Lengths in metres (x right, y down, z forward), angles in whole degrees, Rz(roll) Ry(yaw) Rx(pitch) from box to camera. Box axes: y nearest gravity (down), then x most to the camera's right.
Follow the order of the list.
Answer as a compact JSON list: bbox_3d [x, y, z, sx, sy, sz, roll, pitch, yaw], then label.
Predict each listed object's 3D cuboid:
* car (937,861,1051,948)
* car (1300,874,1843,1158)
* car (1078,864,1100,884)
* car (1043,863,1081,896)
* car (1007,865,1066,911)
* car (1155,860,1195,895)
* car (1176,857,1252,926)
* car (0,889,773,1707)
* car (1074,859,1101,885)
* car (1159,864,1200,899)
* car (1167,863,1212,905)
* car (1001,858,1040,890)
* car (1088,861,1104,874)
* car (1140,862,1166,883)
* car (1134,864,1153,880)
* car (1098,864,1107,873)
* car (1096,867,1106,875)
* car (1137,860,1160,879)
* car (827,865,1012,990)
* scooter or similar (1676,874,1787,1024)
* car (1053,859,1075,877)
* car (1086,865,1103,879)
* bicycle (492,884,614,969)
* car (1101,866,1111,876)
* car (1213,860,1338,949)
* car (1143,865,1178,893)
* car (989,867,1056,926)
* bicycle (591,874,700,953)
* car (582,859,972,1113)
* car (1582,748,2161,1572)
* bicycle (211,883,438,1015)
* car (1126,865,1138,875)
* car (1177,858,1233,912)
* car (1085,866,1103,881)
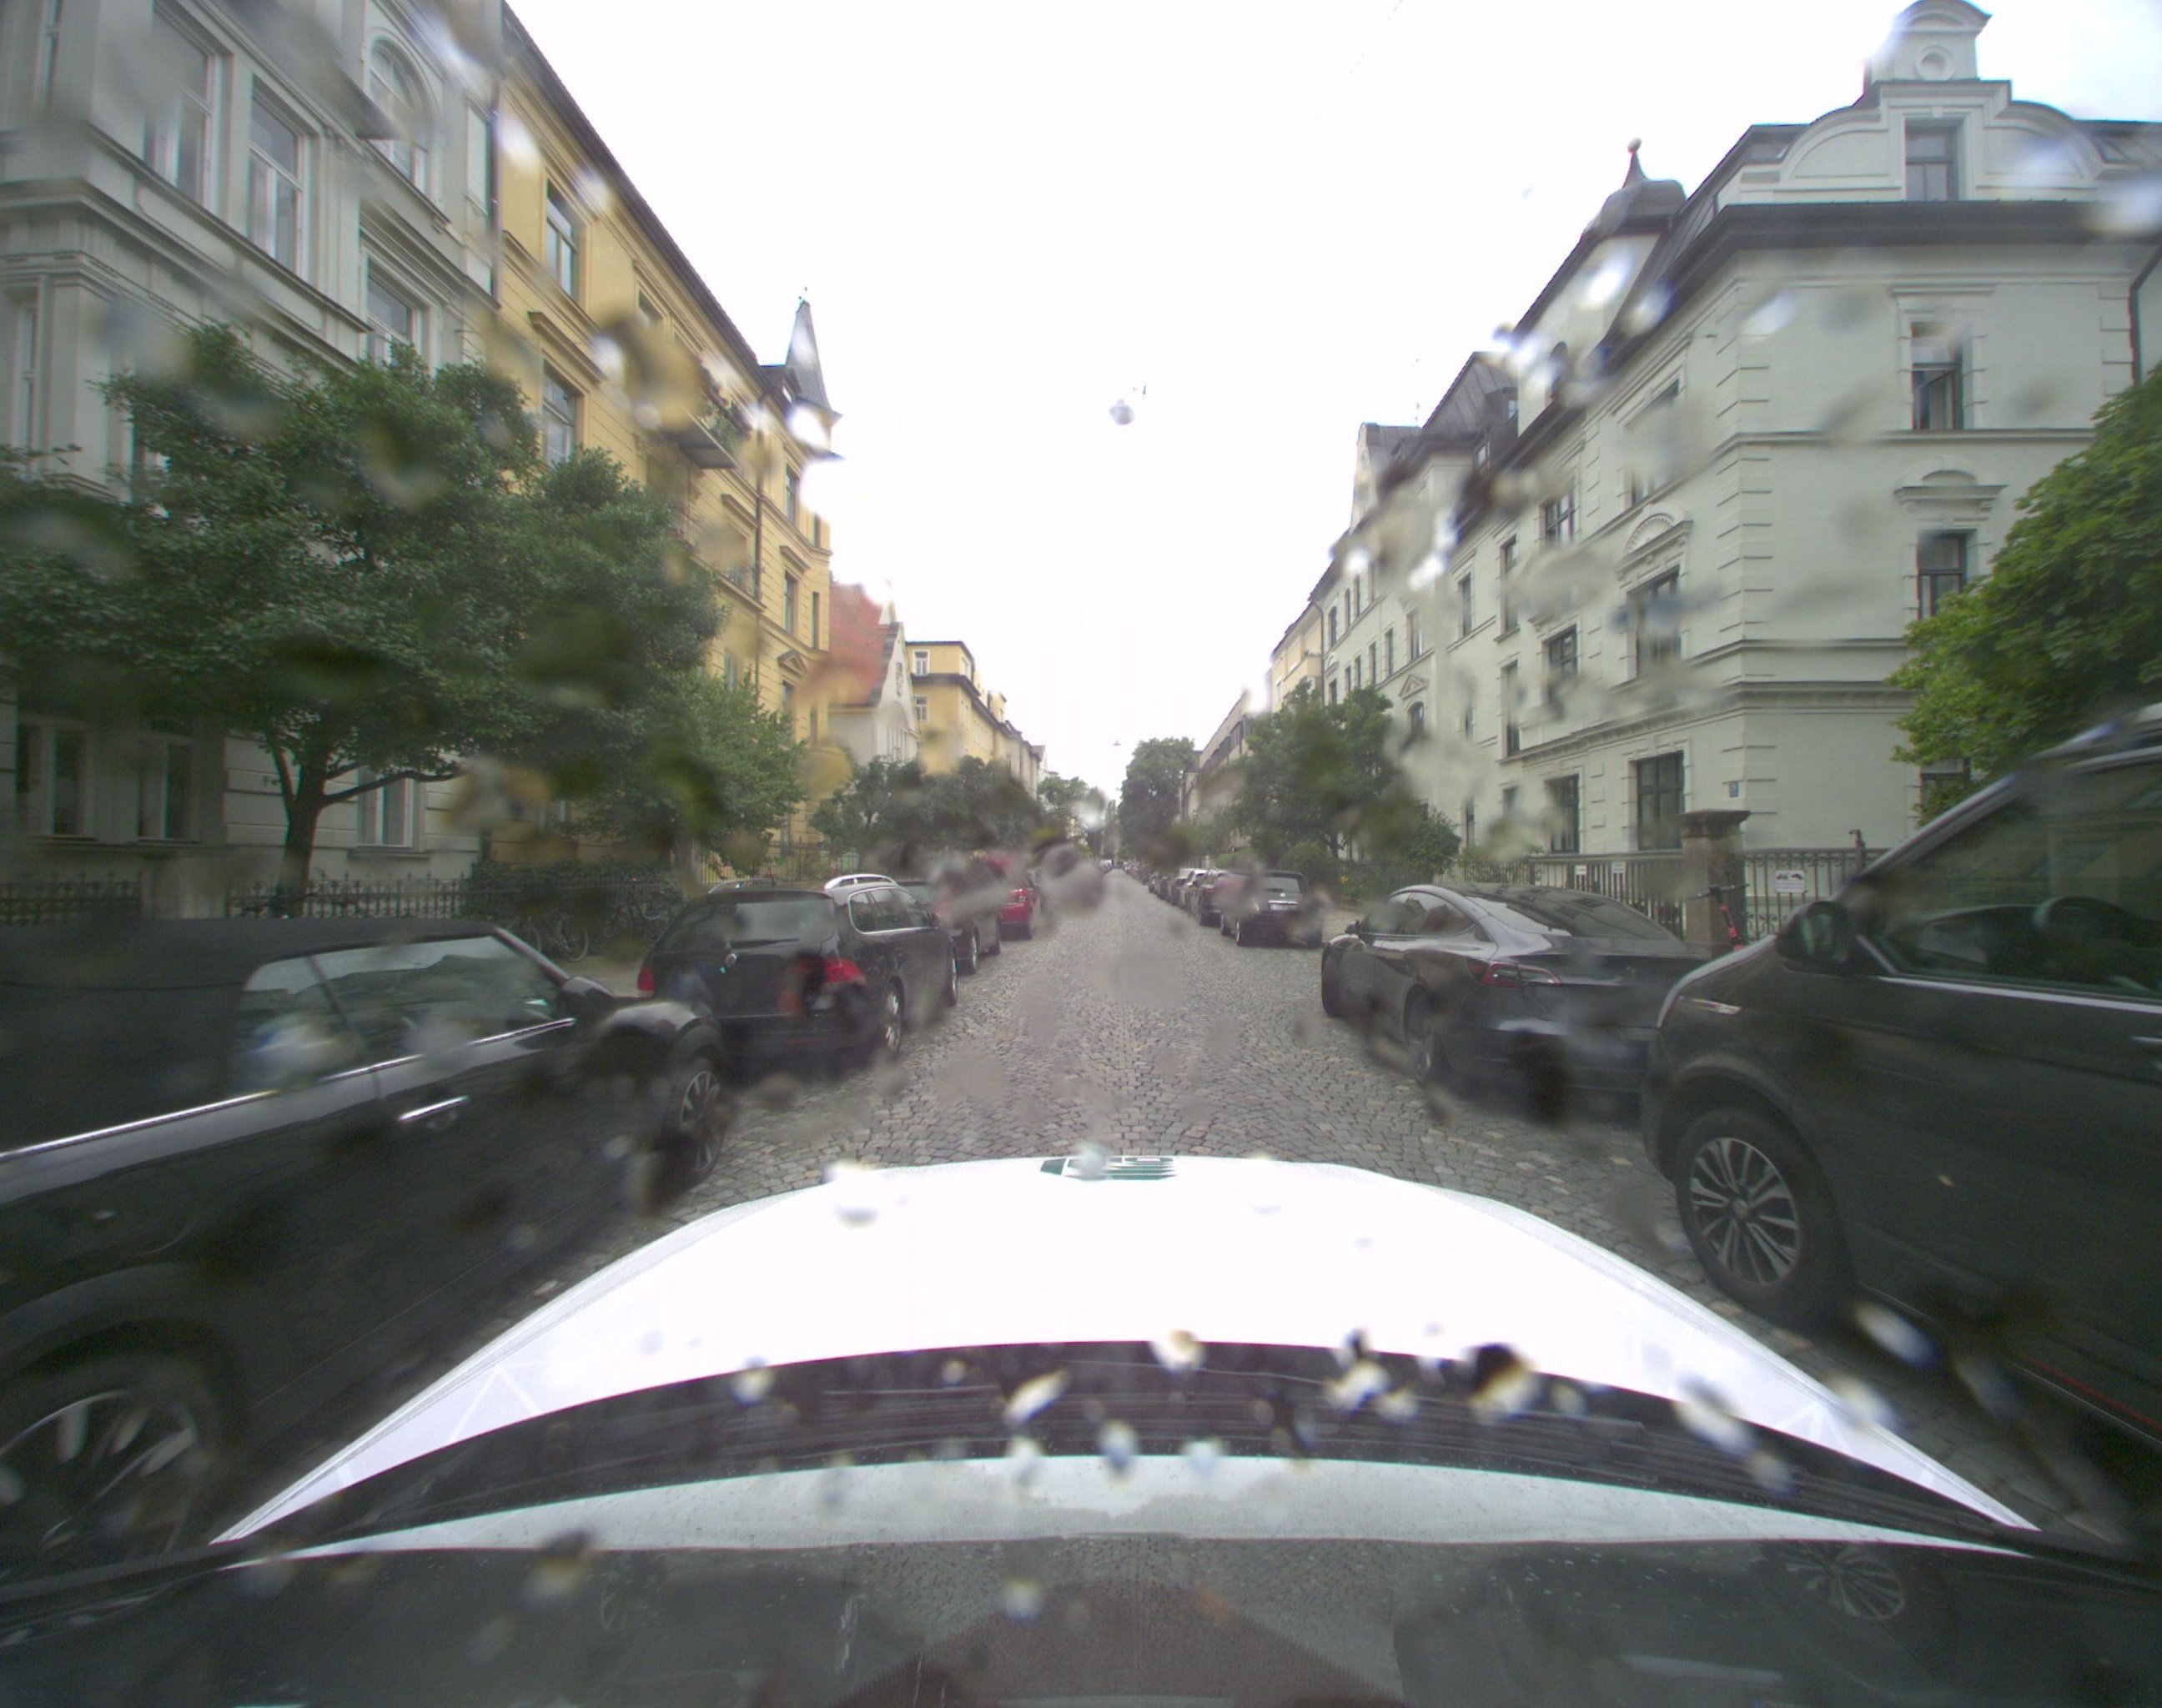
[{"bbox_3d":[-1.845,1.073,18.444,1.914,1.635,3.807,-4,-1,2],"label":"car"},{"bbox_3d":[3.331,0.942,6.876,1.913,1.434,4.805,2,-1,3],"label":"car"},{"bbox_3d":[0.750,1.888,76.976,1.915,1.635,3.740,-4,-1,1],"label":"car"},{"bbox_3d":[-0.981,1.344,43.240,1.916,1.635,3.738,0,-1,0],"label":"car"},{"bbox_3d":[-1.556,1.197,29.440,1.653,1.534,3.488,-1,-1,4],"label":"car"},{"bbox_3d":[4.877,1.218,42.663,1.654,1.635,3.448,-4,-1,1],"label":"car"},{"bbox_3d":[3.424,0.953,21.464,1.653,1.635,3.543,-1,-1,4],"label":"car"},{"bbox_3d":[-2.675,0.979,2.798,1.697,1.516,3.727,-2,-1,1],"label":"car"},{"bbox_3d":[0.541,1.425,64.004,1.915,1.839,3.740,-4,-1,1],"label":"car"},{"bbox_3d":[4.519,1.235,37.649,1.652,1.456,3.452,-4,-1,5],"label":"car"},{"bbox_3d":[4.307,1.161,32.593,1.589,1.503,3.267,-4,-1,6],"label":"car"},{"bbox_3d":[-3.204,1.059,43.817,1.772,1.635,3.739,0,-1,1],"label":"car"},{"bbox_3d":[1.986,1.834,108.214,1.915,1.635,3.740,-4,-1,1],"label":"car"},{"bbox_3d":[6.162,1.598,69.912,1.915,1.635,3.740,-4,-1,1],"label":"car"},{"bbox_3d":[7.202,2.078,94.373,1.915,1.635,3.740,-4,-1,1],"label":"car"},{"bbox_3d":[4.876,3.349,186.088,1.987,2.014,3.998,-1,-2,0],"label":"car"},{"bbox_3d":[4.196,3.565,171.501,1.915,1.635,3.740,-4,-1,1],"label":"car"},{"bbox_3d":[6.438,1.450,77.862,1.915,1.635,3.740,-4,-1,1],"label":"car"},{"bbox_3d":[-2.352,1.033,12.963,1.914,1.546,4.001,-4,-1,2],"label":"car"},{"bbox_3d":[6.452,0.885,8.154,0.622,1.333,1.613,-4,-3,32],"label":"scooter or similar"},{"bbox_3d":[-1.681,1.450,82.764,1.915,1.635,3.740,-4,-1,1],"label":"car"},{"bbox_3d":[1.742,2.275,101.962,1.915,1.635,3.740,-4,-1,1],"label":"car"},{"bbox_3d":[-7.174,0.944,11.161,0.416,1.027,1.766,1,-1,3],"label":"bicycle"},{"bbox_3d":[4.716,3.233,153.254,1.915,1.635,3.740,-4,-1,1],"label":"car"},{"bbox_3d":[3.996,0.990,17.359,1.913,1.635,4.050,1,-1,4],"label":"car"},{"bbox_3d":[4.609,1.428,47.713,1.654,1.465,3.448,-4,-1,1],"label":"car"},{"bbox_3d":[-1.600,1.160,22.940,1.425,1.460,2.653,-4,-1,4],"label":"car"},{"bbox_3d":[-6.889,0.905,12.993,0.415,1.143,1.771,0,-1,15],"label":"bicycle"},{"bbox_3d":[-2.287,0.907,7.486,1.720,1.540,4.338,-4,-1,2],"label":"car"},{"bbox_3d":[3.206,0.621,1.273,2.013,1.690,4.853,0,0,2],"label":"car"},{"bbox_3d":[-7.382,0.867,8.082,0.369,1.102,1.837,0,-1,6],"label":"bicycle"},{"bbox_3d":[9.030,2.827,145.508,1.915,1.635,3.740,-4,-1,1],"label":"car"},{"bbox_3d":[4.219,1.018,27.756,1.651,1.635,3.456,-4,-1,8],"label":"car"},{"bbox_3d":[1.547,2.272,96.804,1.915,1.635,3.740,-4,-1,1],"label":"car"}]
